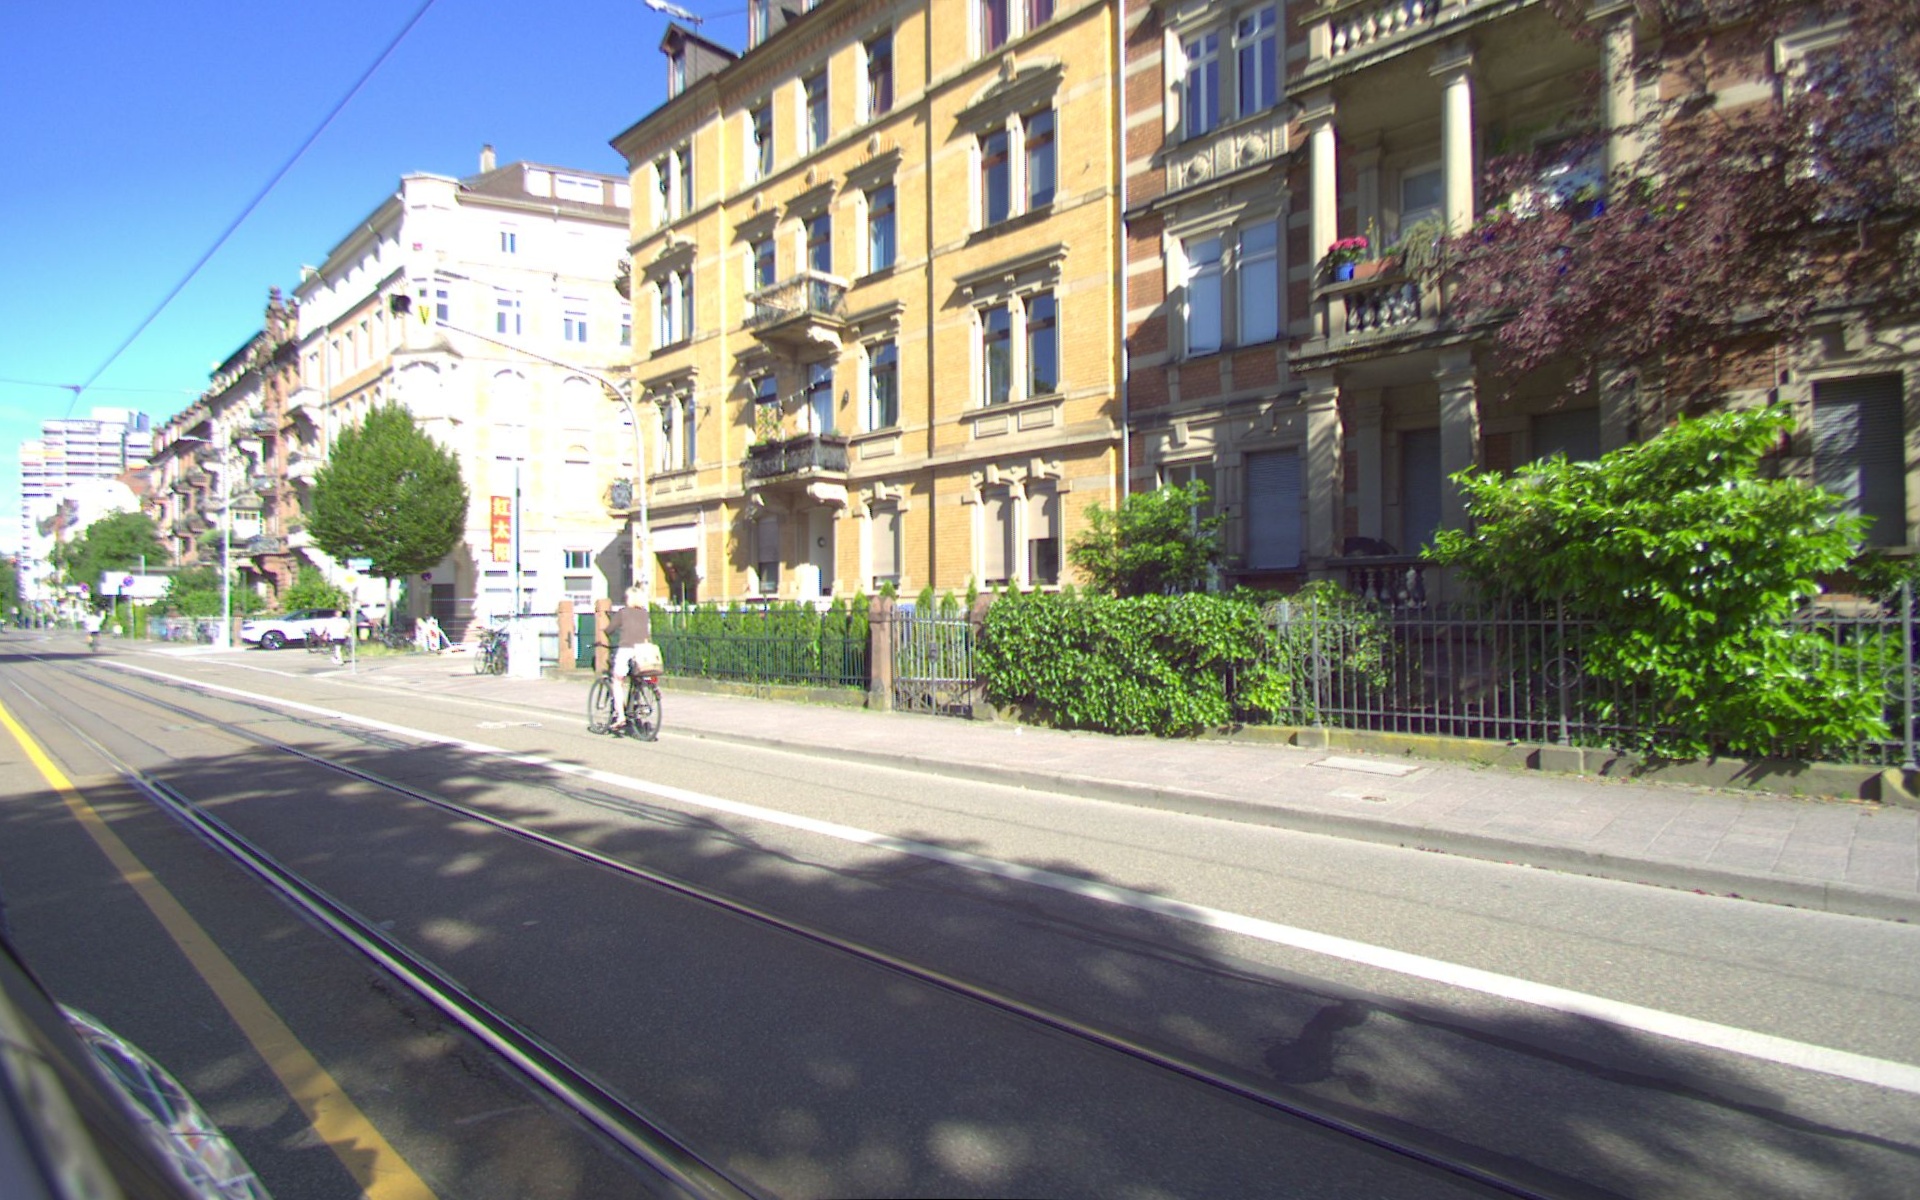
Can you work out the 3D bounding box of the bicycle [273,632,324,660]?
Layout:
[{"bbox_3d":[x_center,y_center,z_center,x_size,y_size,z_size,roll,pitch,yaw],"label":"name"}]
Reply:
[{"bbox_3d":[-25.023,1.729,38.297,0.614,0.921,1.784,0,1,8],"label":"bicycle"}]

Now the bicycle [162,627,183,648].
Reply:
[{"bbox_3d":[-40.856,1.922,52.489,1.768,1.041,0.557,-2,0,43],"label":"bicycle"}]

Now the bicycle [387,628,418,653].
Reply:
[{"bbox_3d":[-22.776,1.637,41.351,0.244,0.921,1.539,0,1,8],"label":"bicycle"}]

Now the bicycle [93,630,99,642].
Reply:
[{"bbox_3d":[-71.842,2.961,84.108,0.337,0.933,1.945,-2,0,-41],"label":"bicycle"}]

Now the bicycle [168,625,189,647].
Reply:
[{"bbox_3d":[-39.561,1.813,51.226,1.768,1.041,0.557,-2,0,43],"label":"bicycle"}]

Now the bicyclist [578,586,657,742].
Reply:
[{"bbox_3d":[-4.138,0.753,12.239,0.616,1.815,0.653,-1,-3,44],"label":"bicyclist"}]

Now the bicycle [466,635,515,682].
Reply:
[{"bbox_3d":[-10.656,1.305,22.942,1.870,1.008,0.331,-1,0,44],"label":"bicycle"}]

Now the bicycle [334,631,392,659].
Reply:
[{"bbox_3d":[-22.497,1.700,38.136,1.965,0.983,0.579,-1,0,9],"label":"bicycle"}]

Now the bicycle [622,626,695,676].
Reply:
[{"bbox_3d":[-6.596,1.104,22.202,0.389,0.982,1.519,-2,0,42],"label":"bicycle"}]

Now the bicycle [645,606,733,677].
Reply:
[{"bbox_3d":[-5.515,0.829,20.683,0.612,1.330,1.747,-2,0,34],"label":"bicycle"}]

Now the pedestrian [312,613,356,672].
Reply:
[{"bbox_3d":[-19.460,1.302,31.454,1.081,1.736,0.821,0,1,38],"label":"pedestrian"}]

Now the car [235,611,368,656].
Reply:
[{"bbox_3d":[-27.690,1.355,42.654,4.394,1.656,1.968,-2,1,-44],"label":"car"}]

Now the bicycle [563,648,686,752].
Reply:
[{"bbox_3d":[-4.041,1.153,12.121,1.719,1.121,0.684,-2,-2,44],"label":"bicycle"}]

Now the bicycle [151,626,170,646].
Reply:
[{"bbox_3d":[-43.580,1.992,55.173,1.768,1.041,0.557,-3,-1,45],"label":"bicycle"}]

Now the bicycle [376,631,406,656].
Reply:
[{"bbox_3d":[-22.415,1.708,39.858,0.611,0.921,1.297,0,1,-8],"label":"bicycle"}]

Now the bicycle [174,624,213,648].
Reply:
[{"bbox_3d":[-36.720,1.724,48.457,1.754,1.041,0.561,-3,2,20],"label":"bicycle"}]

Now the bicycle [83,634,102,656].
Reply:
[{"bbox_3d":[-38.323,1.977,44.701,2.203,0.933,0.455,-1,-2,44],"label":"bicycle"}]

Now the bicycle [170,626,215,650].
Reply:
[{"bbox_3d":[-35.733,1.778,47.105,1.747,1.041,0.563,-3,0,8],"label":"bicycle"}]

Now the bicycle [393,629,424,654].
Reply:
[{"bbox_3d":[-22.500,1.690,41.297,0.244,0.921,1.539,0,1,8],"label":"bicycle"}]

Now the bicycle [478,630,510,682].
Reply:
[{"bbox_3d":[-10.617,1.265,23.072,0.809,1.134,0.366,-2,0,44],"label":"bicycle"}]

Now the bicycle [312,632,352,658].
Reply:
[{"bbox_3d":[-23.929,1.705,38.568,0.614,0.921,1.291,0,1,8],"label":"bicycle"}]

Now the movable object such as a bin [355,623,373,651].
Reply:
[{"bbox_3d":[-23.916,1.477,40.612,0.568,1.079,0.718,-2,0,-33],"label":"movable object such as a bin"}]

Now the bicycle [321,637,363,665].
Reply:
[{"bbox_3d":[-22.250,1.832,36.453,0.614,0.921,1.291,0,1,8],"label":"bicycle"}]

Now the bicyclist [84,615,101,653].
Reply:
[{"bbox_3d":[-38.370,1.509,44.782,0.744,1.631,0.459,-2,-3,44],"label":"bicyclist"}]

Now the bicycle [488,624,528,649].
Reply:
[{"bbox_3d":[-19.991,1.602,44.814,1.576,1.045,0.407,-2,-2,-21],"label":"bicycle"}]
